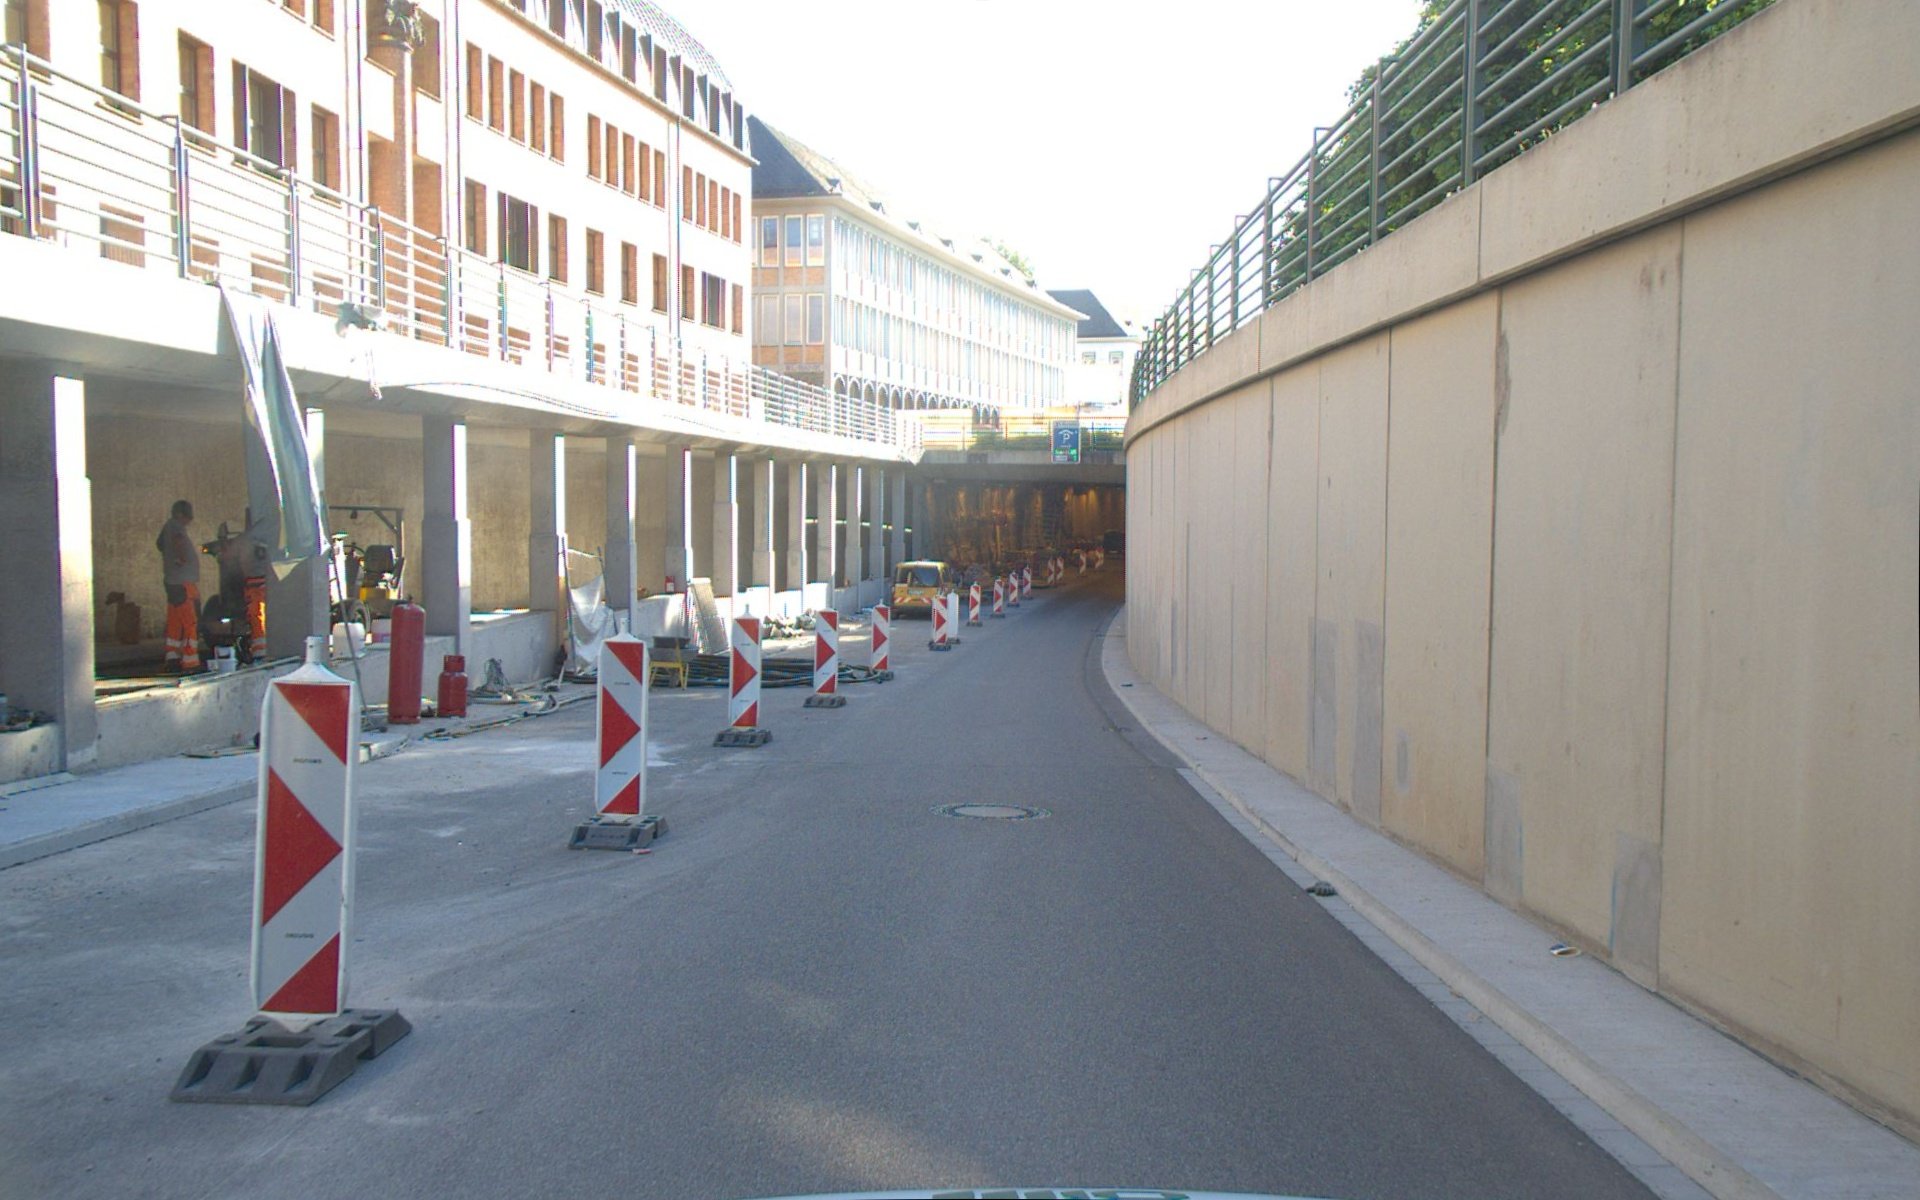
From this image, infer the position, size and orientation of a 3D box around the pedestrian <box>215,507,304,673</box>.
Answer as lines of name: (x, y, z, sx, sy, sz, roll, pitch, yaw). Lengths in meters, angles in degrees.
pedestrian: (-7.961, -0.114, 18.813, 0.643, 1.836, 0.625, 2, 0, 9)

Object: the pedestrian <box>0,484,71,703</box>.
pedestrian: (-8.964, -0.072, 15.520, 0.663, 1.991, 0.937, 2, 0, 1)

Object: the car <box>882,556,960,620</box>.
car: (-1.193, -0.435, 52.840, 1.809, 1.806, 4.439, 2, 3, 7)

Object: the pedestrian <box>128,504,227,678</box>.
pedestrian: (-8.549, -0.100, 18.094, 0.690, 1.846, 0.710, 2, 1, -1)

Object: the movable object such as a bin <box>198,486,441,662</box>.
movable object such as a bin: (-8.026, -0.337, 21.040, 1.847, 2.021, 3.159, 1, 1, -1)

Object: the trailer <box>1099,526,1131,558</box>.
trailer: (9.623, -3.624, 102.545, 1.547, 1.828, 2.943, 3, 4, 14)
